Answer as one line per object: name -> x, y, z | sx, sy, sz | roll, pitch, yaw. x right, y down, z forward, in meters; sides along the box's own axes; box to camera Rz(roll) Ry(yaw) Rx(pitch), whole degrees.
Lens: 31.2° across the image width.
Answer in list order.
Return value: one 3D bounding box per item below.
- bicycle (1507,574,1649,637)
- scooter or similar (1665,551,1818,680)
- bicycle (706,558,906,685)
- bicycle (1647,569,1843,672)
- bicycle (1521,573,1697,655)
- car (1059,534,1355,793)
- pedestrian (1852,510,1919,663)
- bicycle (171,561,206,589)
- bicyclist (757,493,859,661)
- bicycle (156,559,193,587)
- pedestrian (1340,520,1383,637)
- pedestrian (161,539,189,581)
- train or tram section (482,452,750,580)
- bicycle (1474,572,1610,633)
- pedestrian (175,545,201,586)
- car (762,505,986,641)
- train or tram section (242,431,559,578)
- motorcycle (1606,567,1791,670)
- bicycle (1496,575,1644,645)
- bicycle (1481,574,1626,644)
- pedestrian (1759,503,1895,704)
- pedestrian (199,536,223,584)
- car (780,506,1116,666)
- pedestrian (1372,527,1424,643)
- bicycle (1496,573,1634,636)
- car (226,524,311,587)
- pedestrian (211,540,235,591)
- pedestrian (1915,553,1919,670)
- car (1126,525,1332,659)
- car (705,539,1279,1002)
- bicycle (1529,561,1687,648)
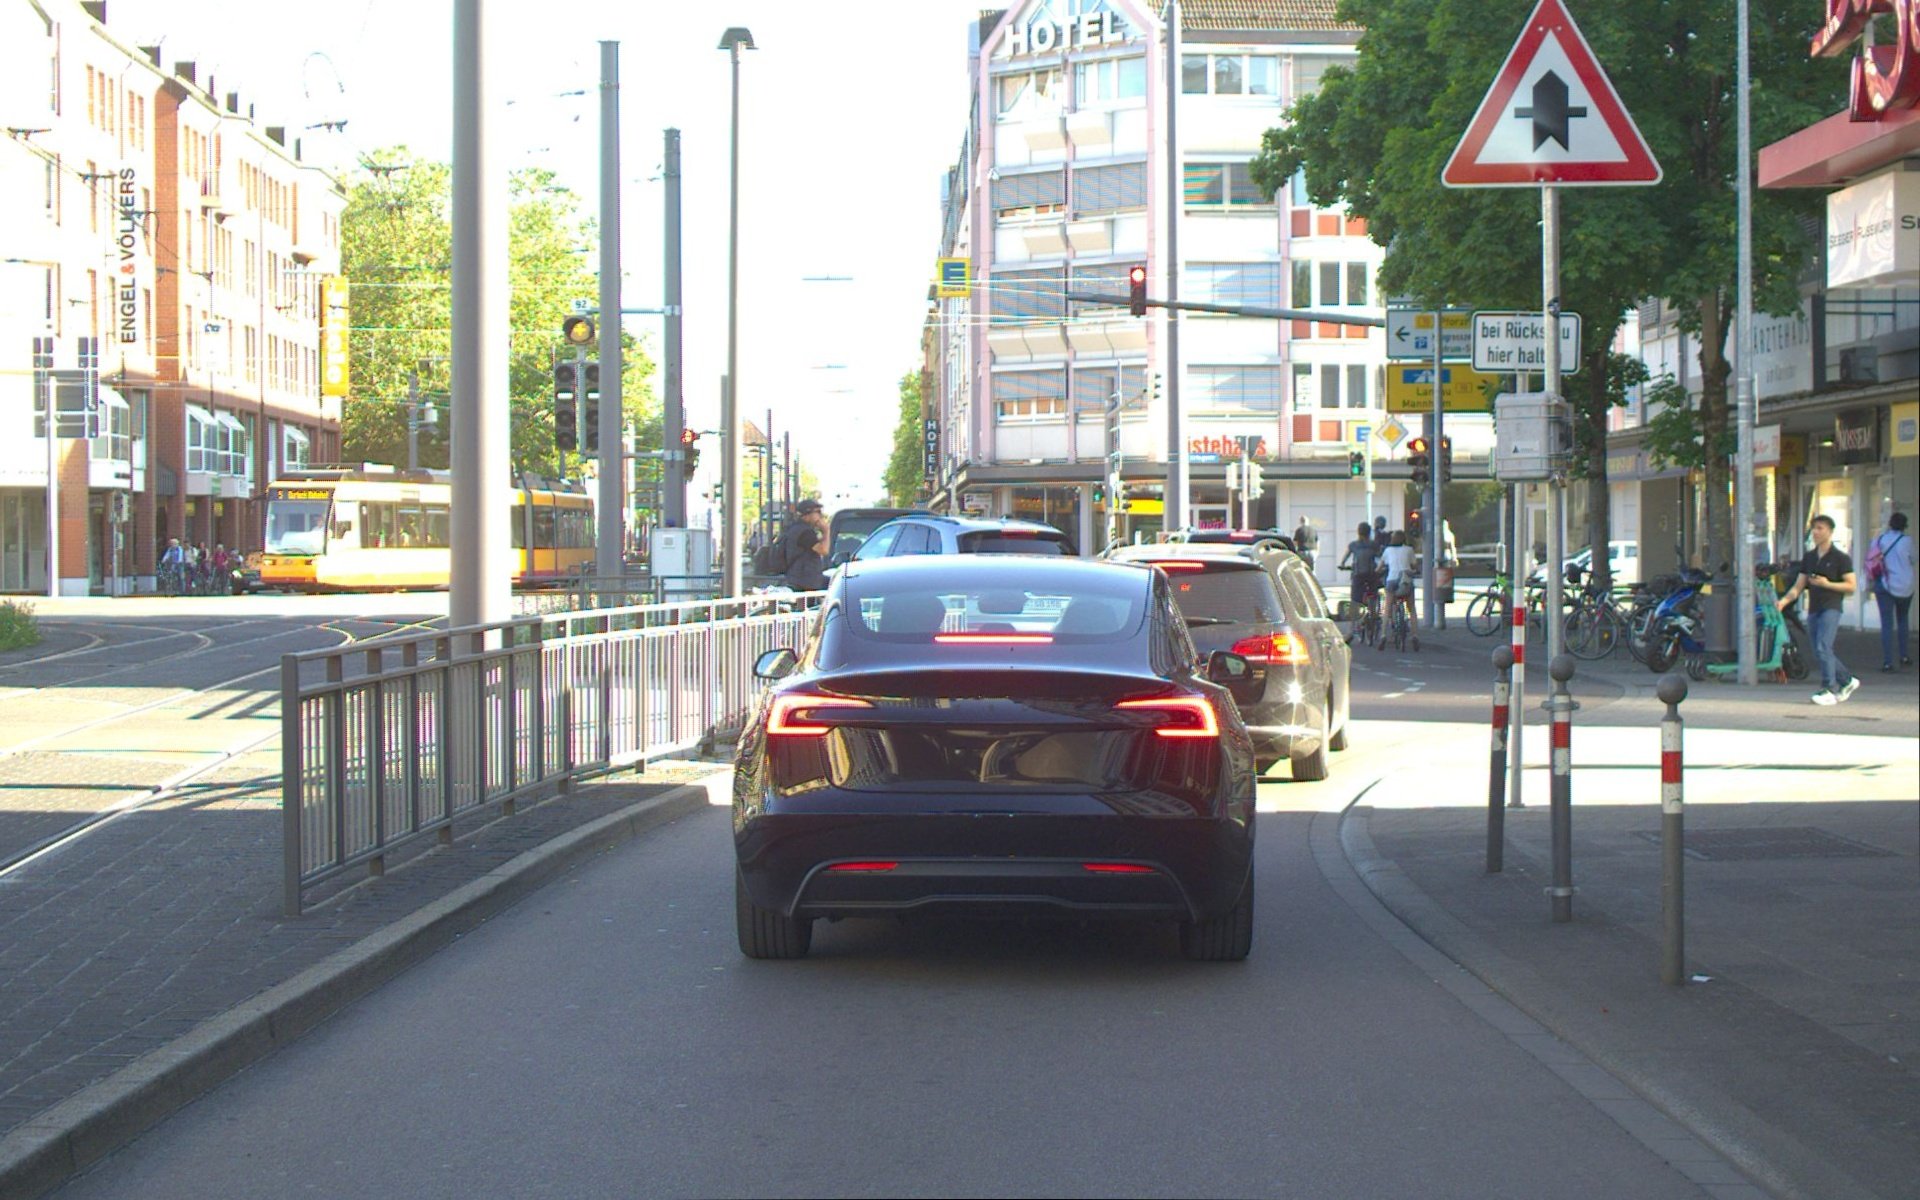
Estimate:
bicycle -> 8.844, 0.075, 49.249 | 1.924, 0.885, 0.526 | 1, 1, 0
scooter or similar -> 8.123, 0.161, 35.736 | 1.408, 1.312, 0.696 | 0, -1, -26
bicycle -> -1.409, 0.193, 31.375 | 1.727, 1.084, 0.678 | 2, 1, -8
bicycle -> 8.700, 0.223, 38.118 | 2.051, 1.118, 0.483 | 1, 1, 0
bicycle -> 7.975, 0.167, 42.281 | 2.051, 0.979, 0.483 | 1, 1, 0
car -> 1.637, 0.323, 21.734 | 1.654, 1.413, 3.999 | 2, 2, 6
pedestrian -> 9.980, -0.145, 37.037 | 0.595, 1.636, 0.466 | -1, 0, 1
bicycle -> -24.794, -0.802, 110.473 | 0.702, 0.852, 2.053 | 0, 1, -1
bicyclist -> -1.395, -0.211, 31.492 | 0.836, 1.494, 0.560 | 2, 1, -9
bicycle -> -24.723, -0.844, 108.217 | 0.702, 0.852, 2.053 | 0, 1, -1
pedestrian -> 5.872, -0.319, 50.315 | 0.562, 1.677, 0.750 | 1, 1, 4
pedestrian -> -24.721, -1.266, 108.270 | 0.711, 1.337, 0.666 | 0, 1, -1
train or tram section -> -10.755, -2.557, 110.088 | 2.639, 3.706, 15.373 | 2, 1, 17
bicycle -> 8.697, 0.035, 51.408 | 1.924, 0.887, 0.526 | 1, 1, 0
pedestrian -> -24.785, -1.113, 110.388 | 0.696, 1.303, 0.564 | 0, 1, -2
car -> -1.108, -0.350, 41.894 | 1.824, 1.514, 4.219 | 2, 1, -14
train or tram section -> -15.329, -2.520, 96.020 | 2.676, 3.703, 14.180 | 2, 1, 17
motorcycle -> 8.625, 0.211, 40.204 | 1.991, 1.124, 0.596 | 2, 1, -1
bicycle -> 8.376, 0.135, 47.234 | 1.924, 0.947, 0.526 | 1, 1, 0
bicycle -> 8.326, 0.121, 48.250 | 1.924, 0.947, 0.526 | 1, 1, 0
pedestrian -> 7.654, 0.035, 30.351 | 1.004, 1.736, 0.529 | 2, 1, -26
pedestrian -> -24.519, -1.305, 112.575 | 0.711, 1.549, 0.564 | 2, 1, -10
car -> -0.199, -0.181, 35.621 | 1.783, 1.514, 4.219 | 2, 1, -26
pedestrian -> 6.142, -0.214, 48.219 | 0.629, 1.608, 0.643 | 1, 1, 3
bicycle -> 8.861, 0.061, 50.384 | 1.924, 0.887, 0.526 | 1, 1, 0
car -> -22.598, -1.475, 112.518 | 1.993, 2.007, 4.000 | 0, 1, -1
pedestrian -> -24.594, -1.149, 114.698 | 0.711, 1.661, 0.564 | 2, 1, -10
pedestrian -> 10.648, 0.124, 37.300 | 0.420, 1.276, 0.531 | -1, 0, 1
car -> 3.245, -0.125, 42.127 | 1.824, 1.514, 3.650 | 2, 1, -6
car -> 0.034, 0.537, 13.161 | 1.849, 1.479, 3.787 | 1, 1, -2
bicycle -> 8.352, 0.058, 44.333 | 1.924, 1.093, 0.555 | 1, 1, 0
